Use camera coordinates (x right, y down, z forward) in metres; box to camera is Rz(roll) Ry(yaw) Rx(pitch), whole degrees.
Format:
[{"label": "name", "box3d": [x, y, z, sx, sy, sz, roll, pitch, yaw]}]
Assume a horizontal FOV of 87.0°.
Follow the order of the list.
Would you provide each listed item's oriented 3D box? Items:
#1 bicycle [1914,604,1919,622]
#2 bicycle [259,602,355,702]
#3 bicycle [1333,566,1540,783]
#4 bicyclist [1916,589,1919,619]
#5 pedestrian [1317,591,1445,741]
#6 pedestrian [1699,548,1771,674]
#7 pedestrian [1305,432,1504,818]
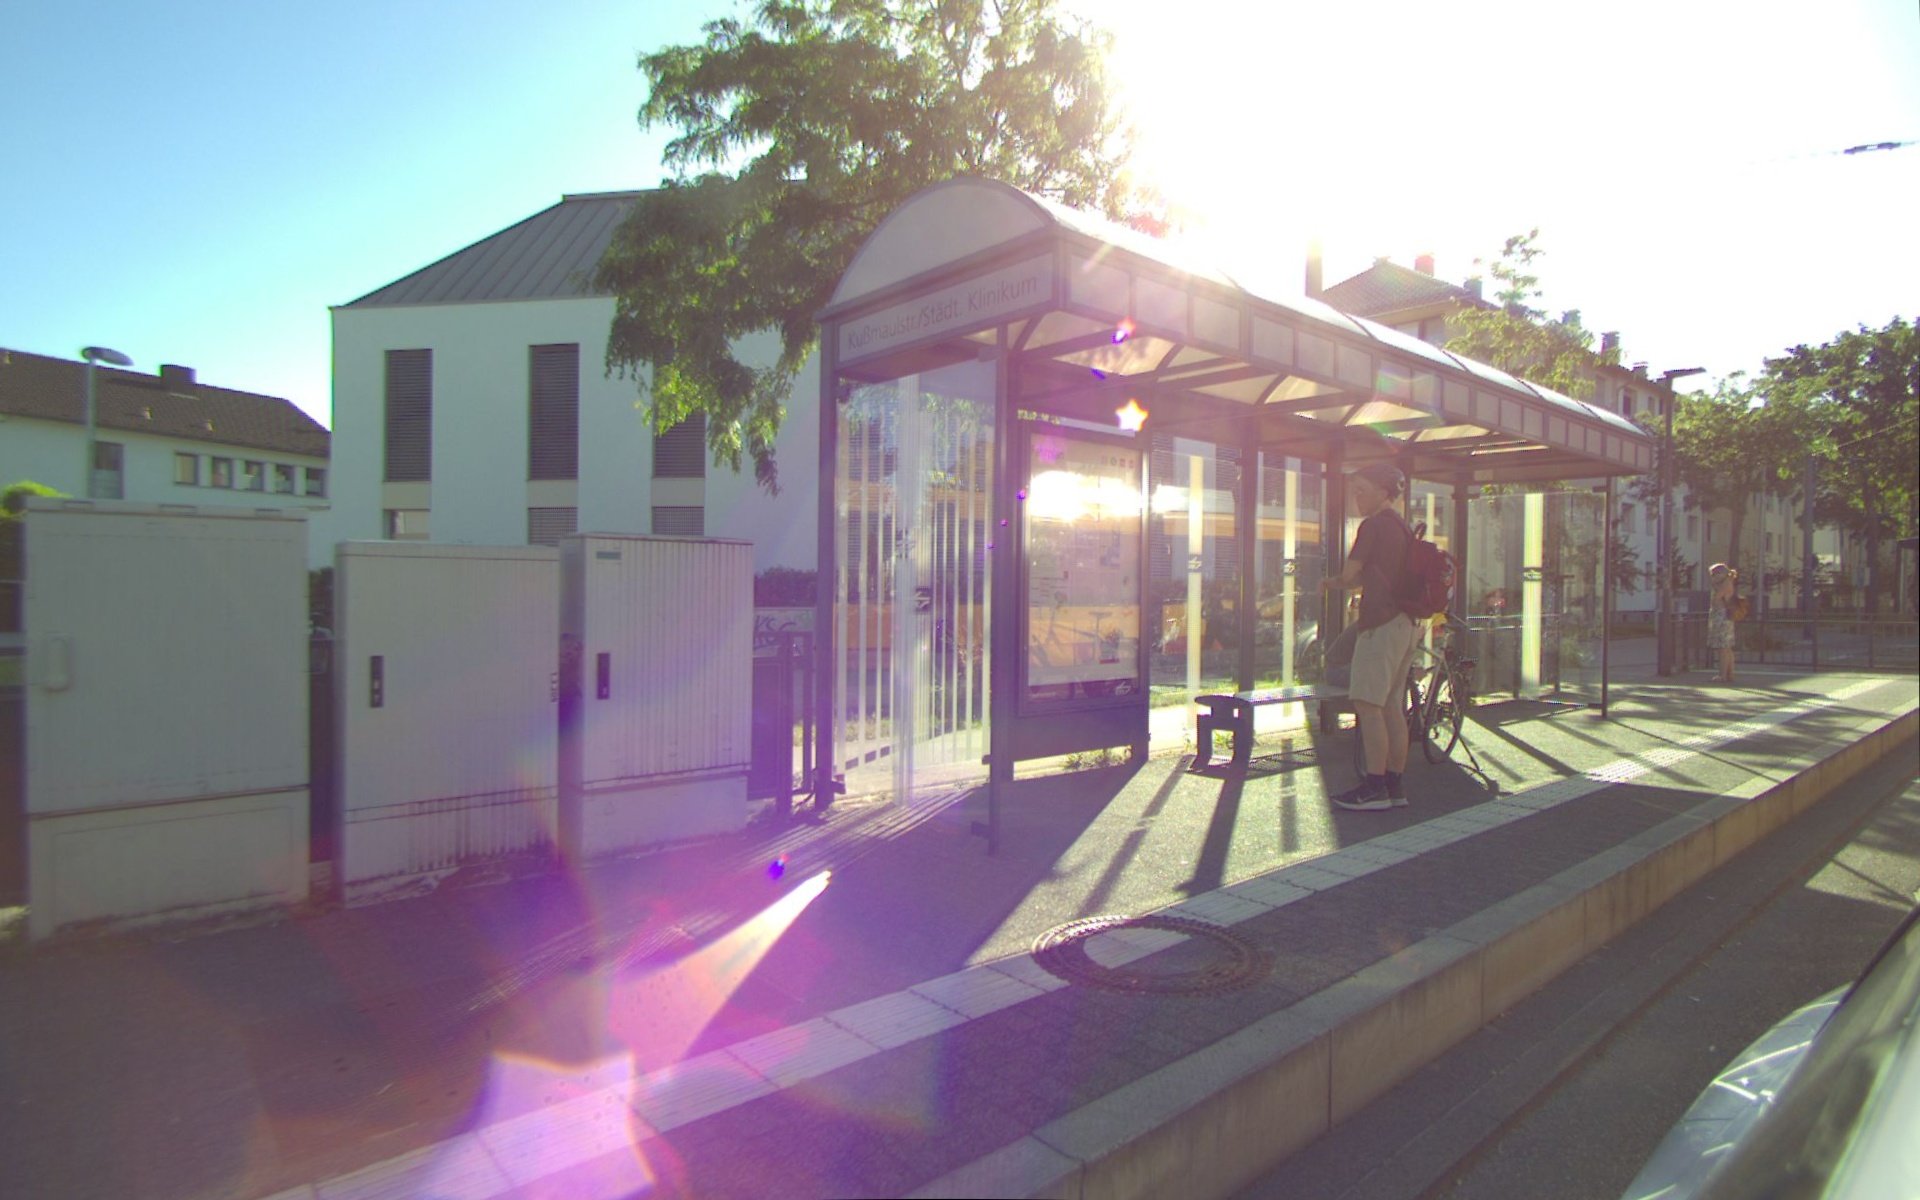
[{"label": "bicycle", "box3d": [49.213, 0.676, 51.368, 2.157, 0.897, 0.827, 0, 1, -37]}, {"label": "bicycle", "box3d": [-7.346, 0.544, 11.346, 1.897, 0.991, 0.483, 2, 1, 44]}, {"label": "bicycle", "box3d": [3.206, 0.419, 6.715, 1.935, 1.245, 0.620, 0, 0, -45]}, {"label": "bicyclist", "box3d": [49.173, 0.223, 51.328, 1.235, 1.518, 0.819, 0, 0, -37]}, {"label": "pedestrian", "box3d": [3.399, 0.502, 8.177, 0.647, 1.131, 0.739, 0, -1, -41]}, {"label": "pedestrian", "box3d": [10.993, 0.155, 14.361, 0.679, 1.726, 0.672, 0, -1, -41]}, {"label": "pedestrian", "box3d": [2.381, 0.120, 5.437, 0.716, 1.877, 0.712, 0, -1, -39]}]
